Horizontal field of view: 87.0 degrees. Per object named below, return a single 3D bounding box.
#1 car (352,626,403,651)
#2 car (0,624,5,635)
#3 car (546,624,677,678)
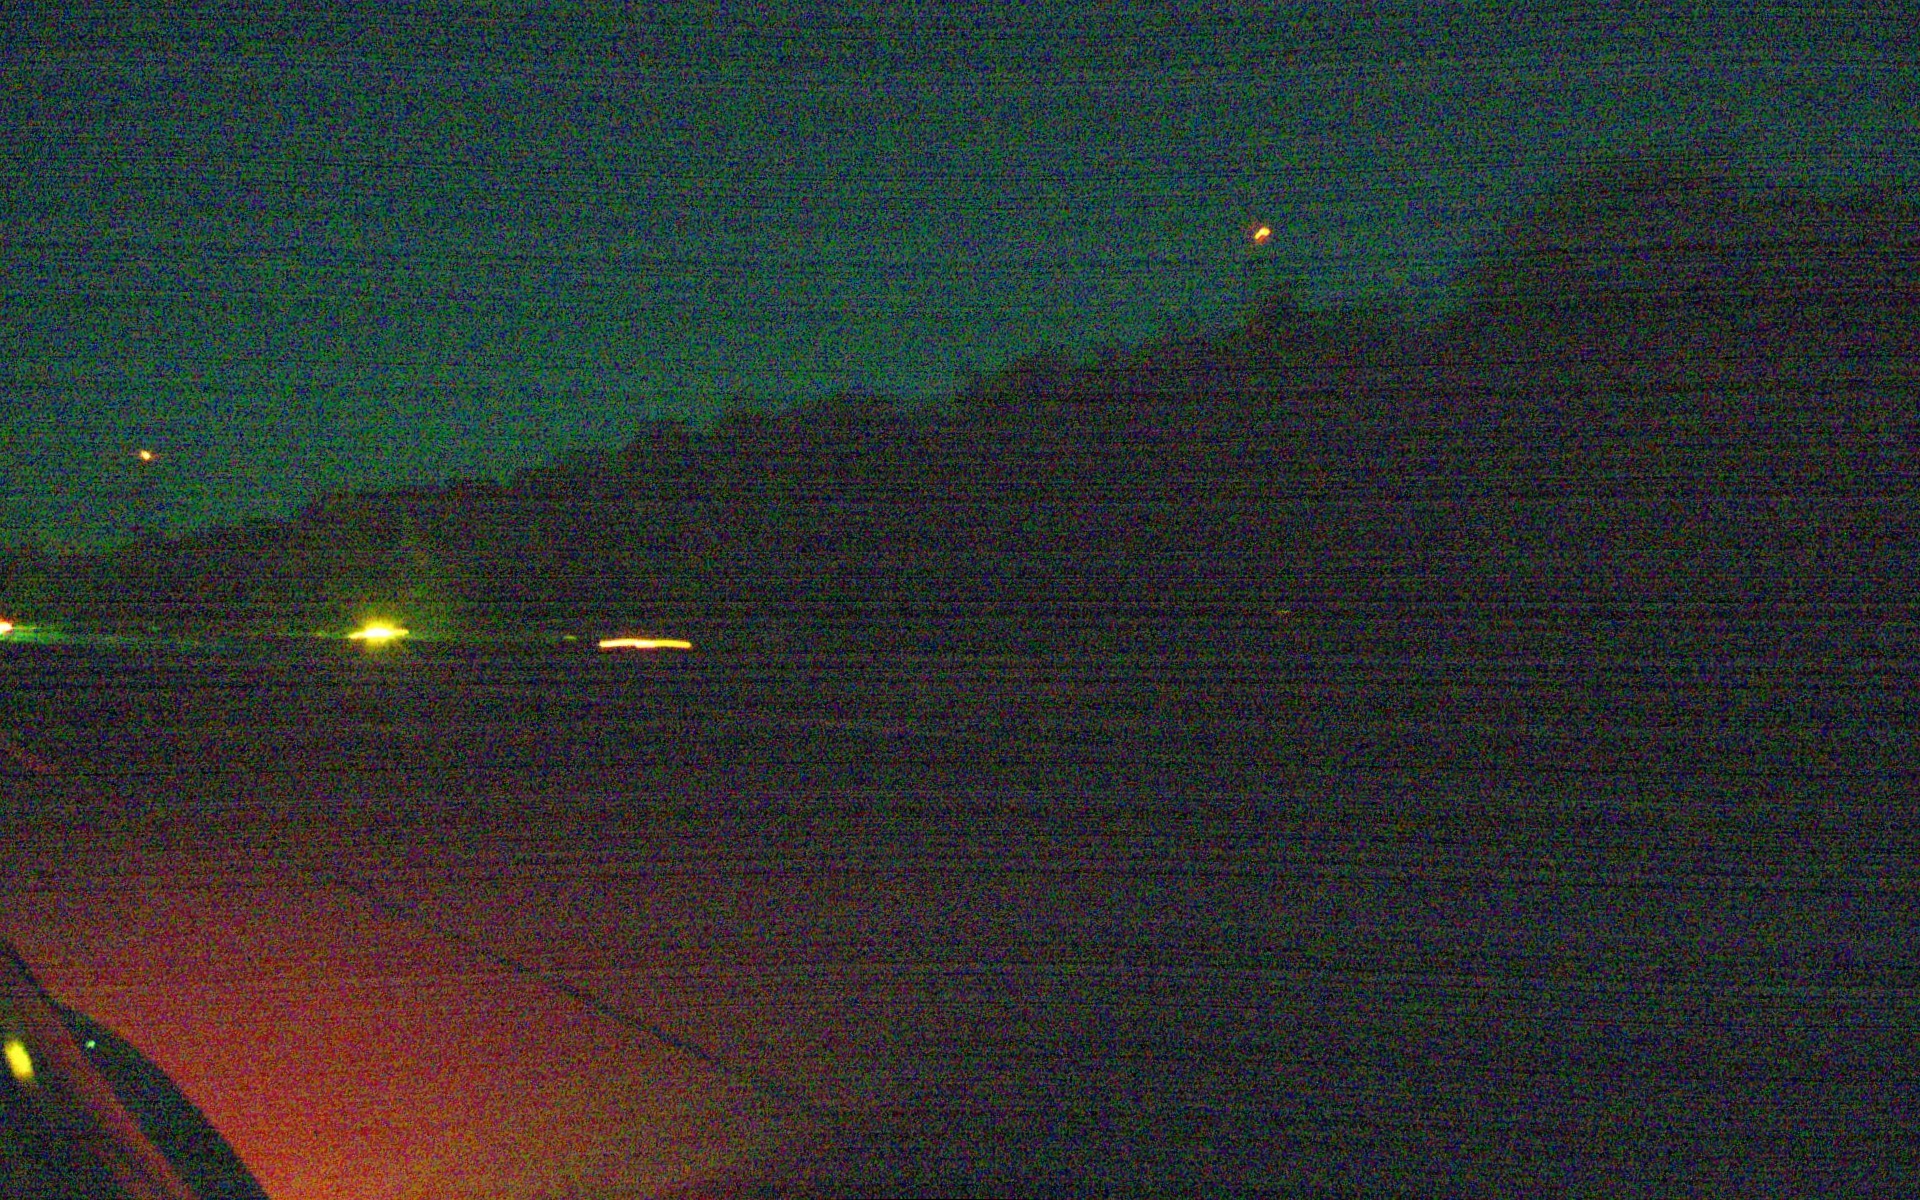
[{"bbox_3d":[-39.402,2.579,68.400,3.998,1.491,1.773,0,0,41],"label":"car"},{"bbox_3d":[-145.839,4.467,152.924,3.998,1.630,1.835,0,0,41],"label":"car"},{"bbox_3d":[-12.145,1.702,35.094,5.107,1.663,1.988,0,0,41],"label":"car"}]
